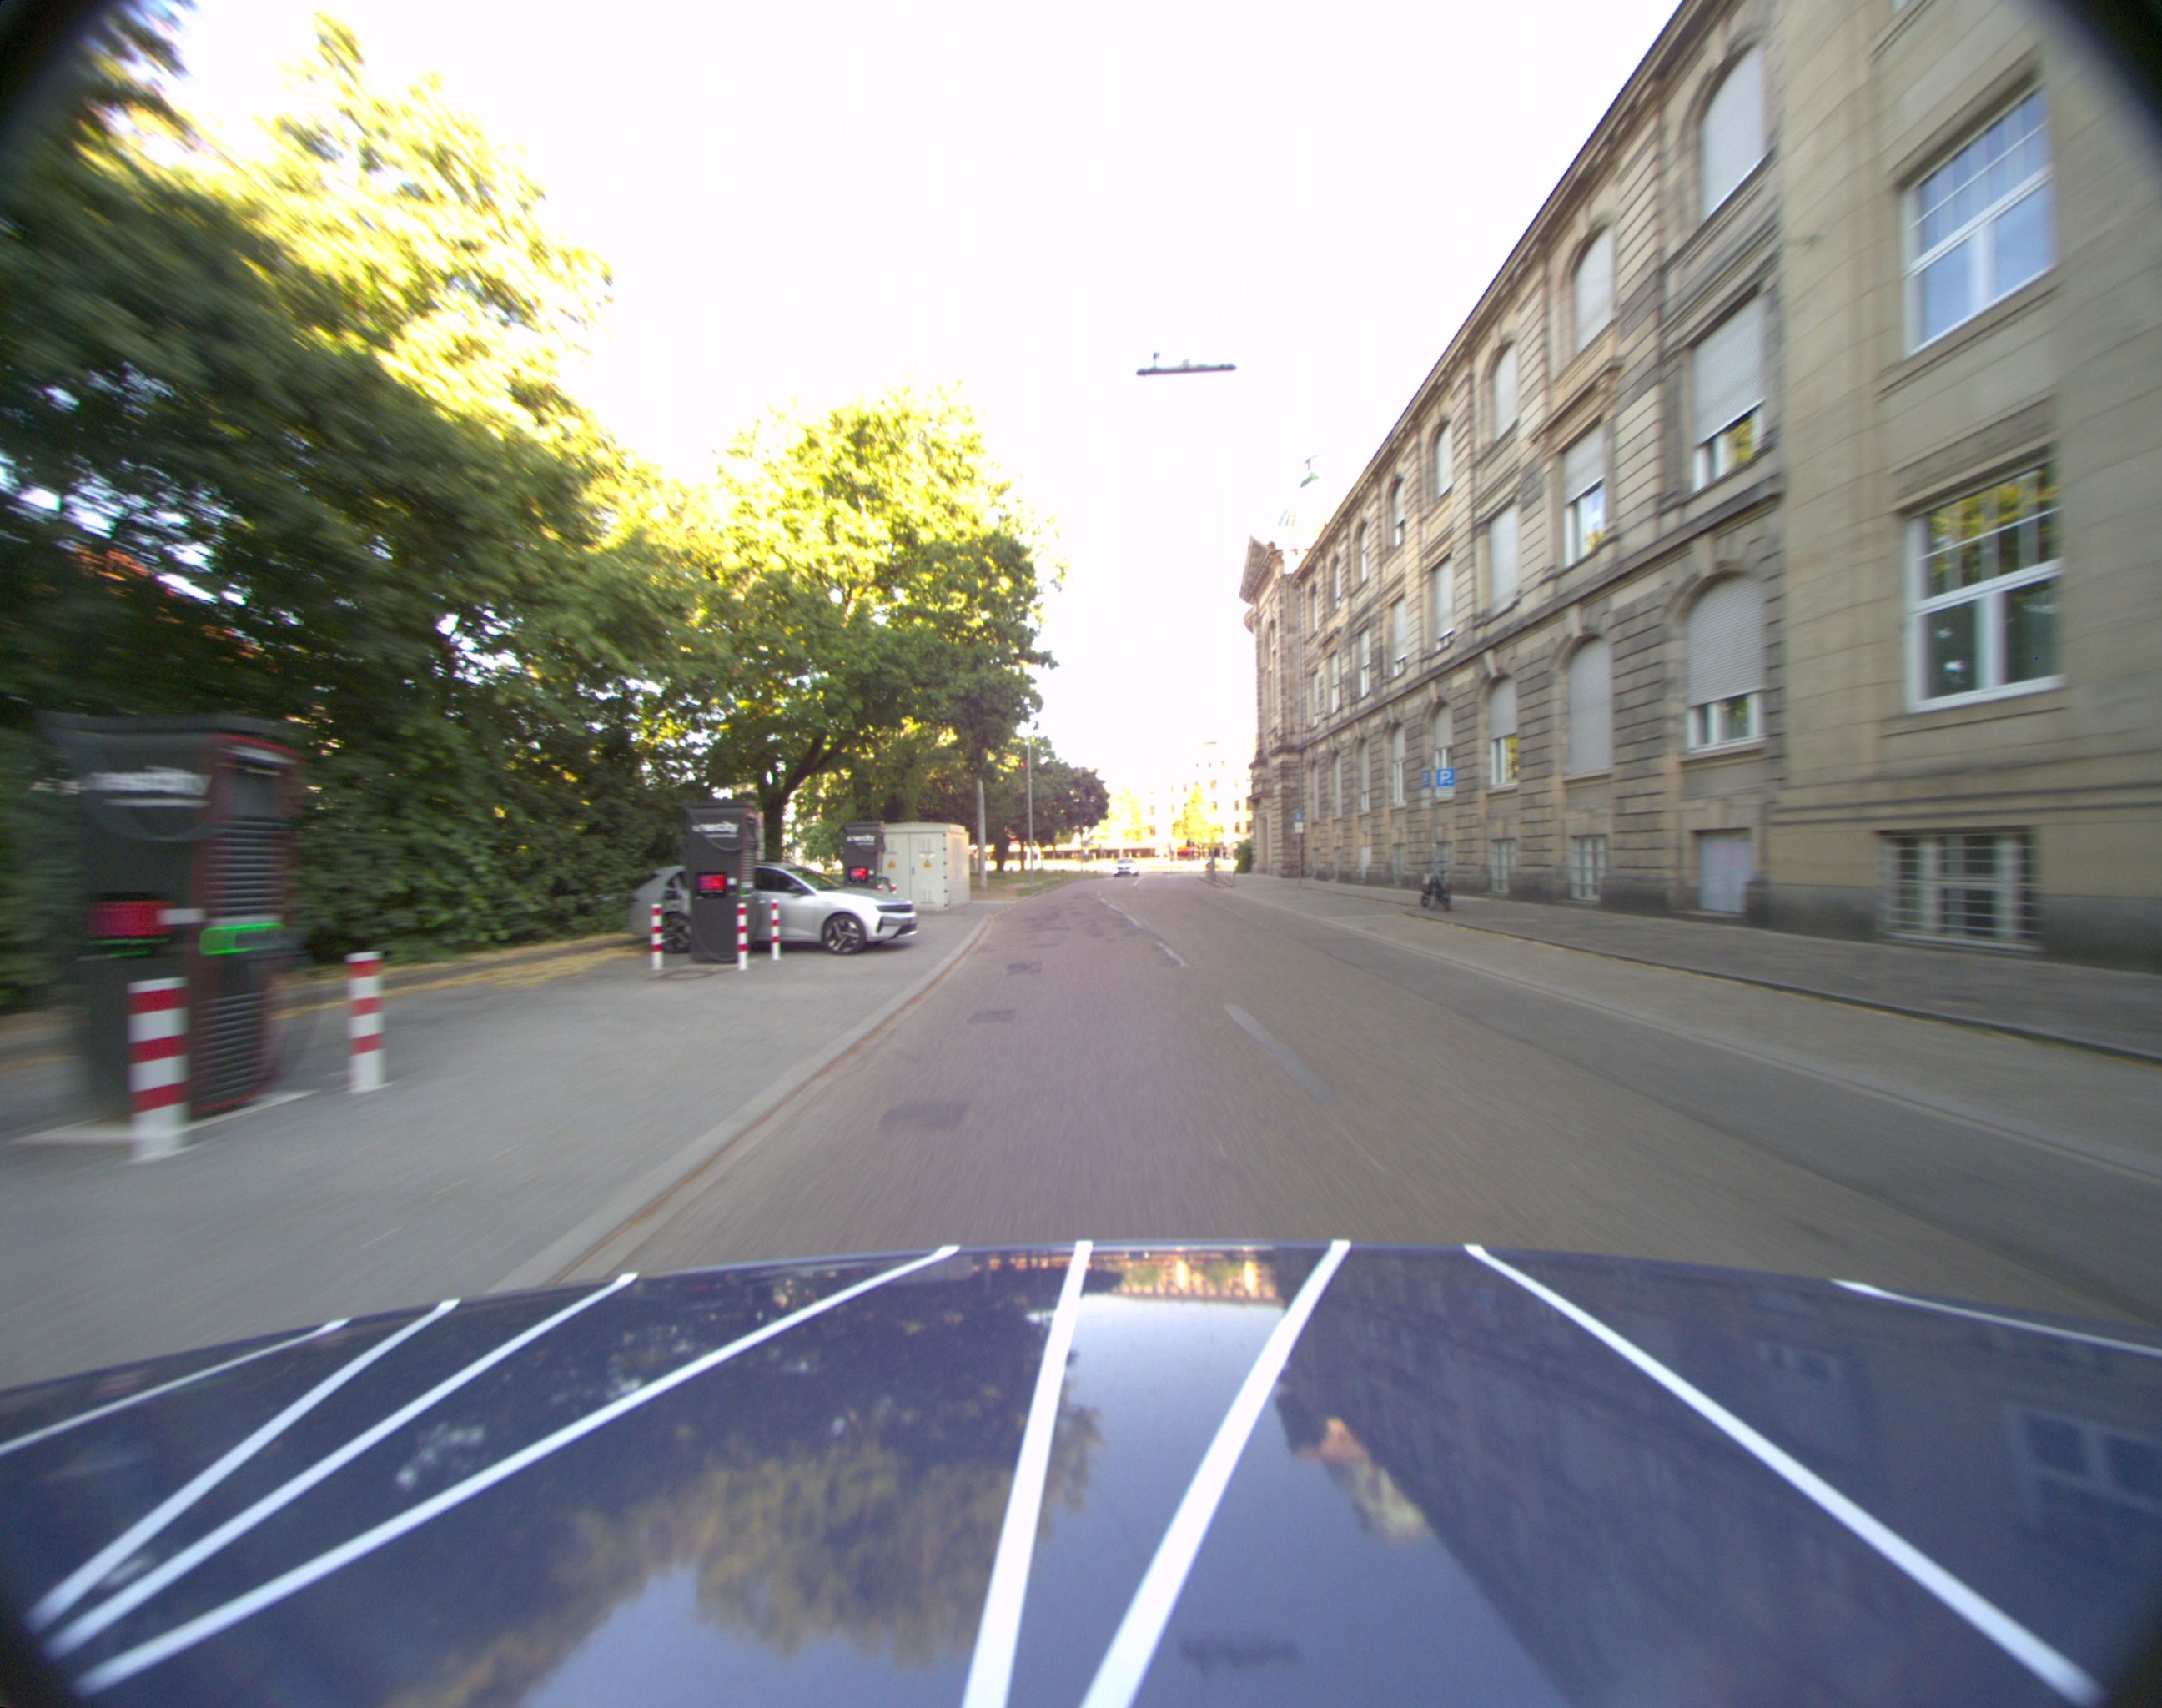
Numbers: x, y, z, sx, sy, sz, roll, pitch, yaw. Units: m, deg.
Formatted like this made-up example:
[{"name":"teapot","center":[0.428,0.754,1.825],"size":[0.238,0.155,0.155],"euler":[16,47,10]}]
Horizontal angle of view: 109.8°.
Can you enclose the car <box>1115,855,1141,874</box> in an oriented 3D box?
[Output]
[{"name":"car","center":[3.870,0.880,62.171],"size":[1.832,1.528,4.282],"euler":[0,-1,8]}]

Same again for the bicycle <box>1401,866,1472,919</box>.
[{"name":"bicycle","center":[8.258,0.857,17.748],"size":[0.854,1.095,1.983],"euler":[-3,0,5]}]

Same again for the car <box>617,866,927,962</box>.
[{"name":"car","center":[-5.005,0.950,12.745],"size":[4.452,1.460,1.782],"euler":[0,0,0]}]

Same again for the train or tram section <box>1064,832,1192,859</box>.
[{"name":"train or tram section","center":[6.320,-1.095,108.632],"size":[19.875,3.538,3.129],"euler":[-1,0,38]}]

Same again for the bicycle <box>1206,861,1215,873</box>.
[{"name":"bicycle","center":[11.275,1.119,65.950],"size":[0.663,1.064,2.155],"euler":[0,0,13]}]

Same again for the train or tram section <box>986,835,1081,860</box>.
[{"name":"train or tram section","center":[-7.826,-0.907,119.928],"size":[17.427,3.538,3.129],"euler":[-1,0,39]}]

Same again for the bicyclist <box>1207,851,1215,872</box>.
[{"name":"bicyclist","center":[11.283,0.637,66.012],"size":[0.646,1.796,0.781],"euler":[0,1,13]}]
